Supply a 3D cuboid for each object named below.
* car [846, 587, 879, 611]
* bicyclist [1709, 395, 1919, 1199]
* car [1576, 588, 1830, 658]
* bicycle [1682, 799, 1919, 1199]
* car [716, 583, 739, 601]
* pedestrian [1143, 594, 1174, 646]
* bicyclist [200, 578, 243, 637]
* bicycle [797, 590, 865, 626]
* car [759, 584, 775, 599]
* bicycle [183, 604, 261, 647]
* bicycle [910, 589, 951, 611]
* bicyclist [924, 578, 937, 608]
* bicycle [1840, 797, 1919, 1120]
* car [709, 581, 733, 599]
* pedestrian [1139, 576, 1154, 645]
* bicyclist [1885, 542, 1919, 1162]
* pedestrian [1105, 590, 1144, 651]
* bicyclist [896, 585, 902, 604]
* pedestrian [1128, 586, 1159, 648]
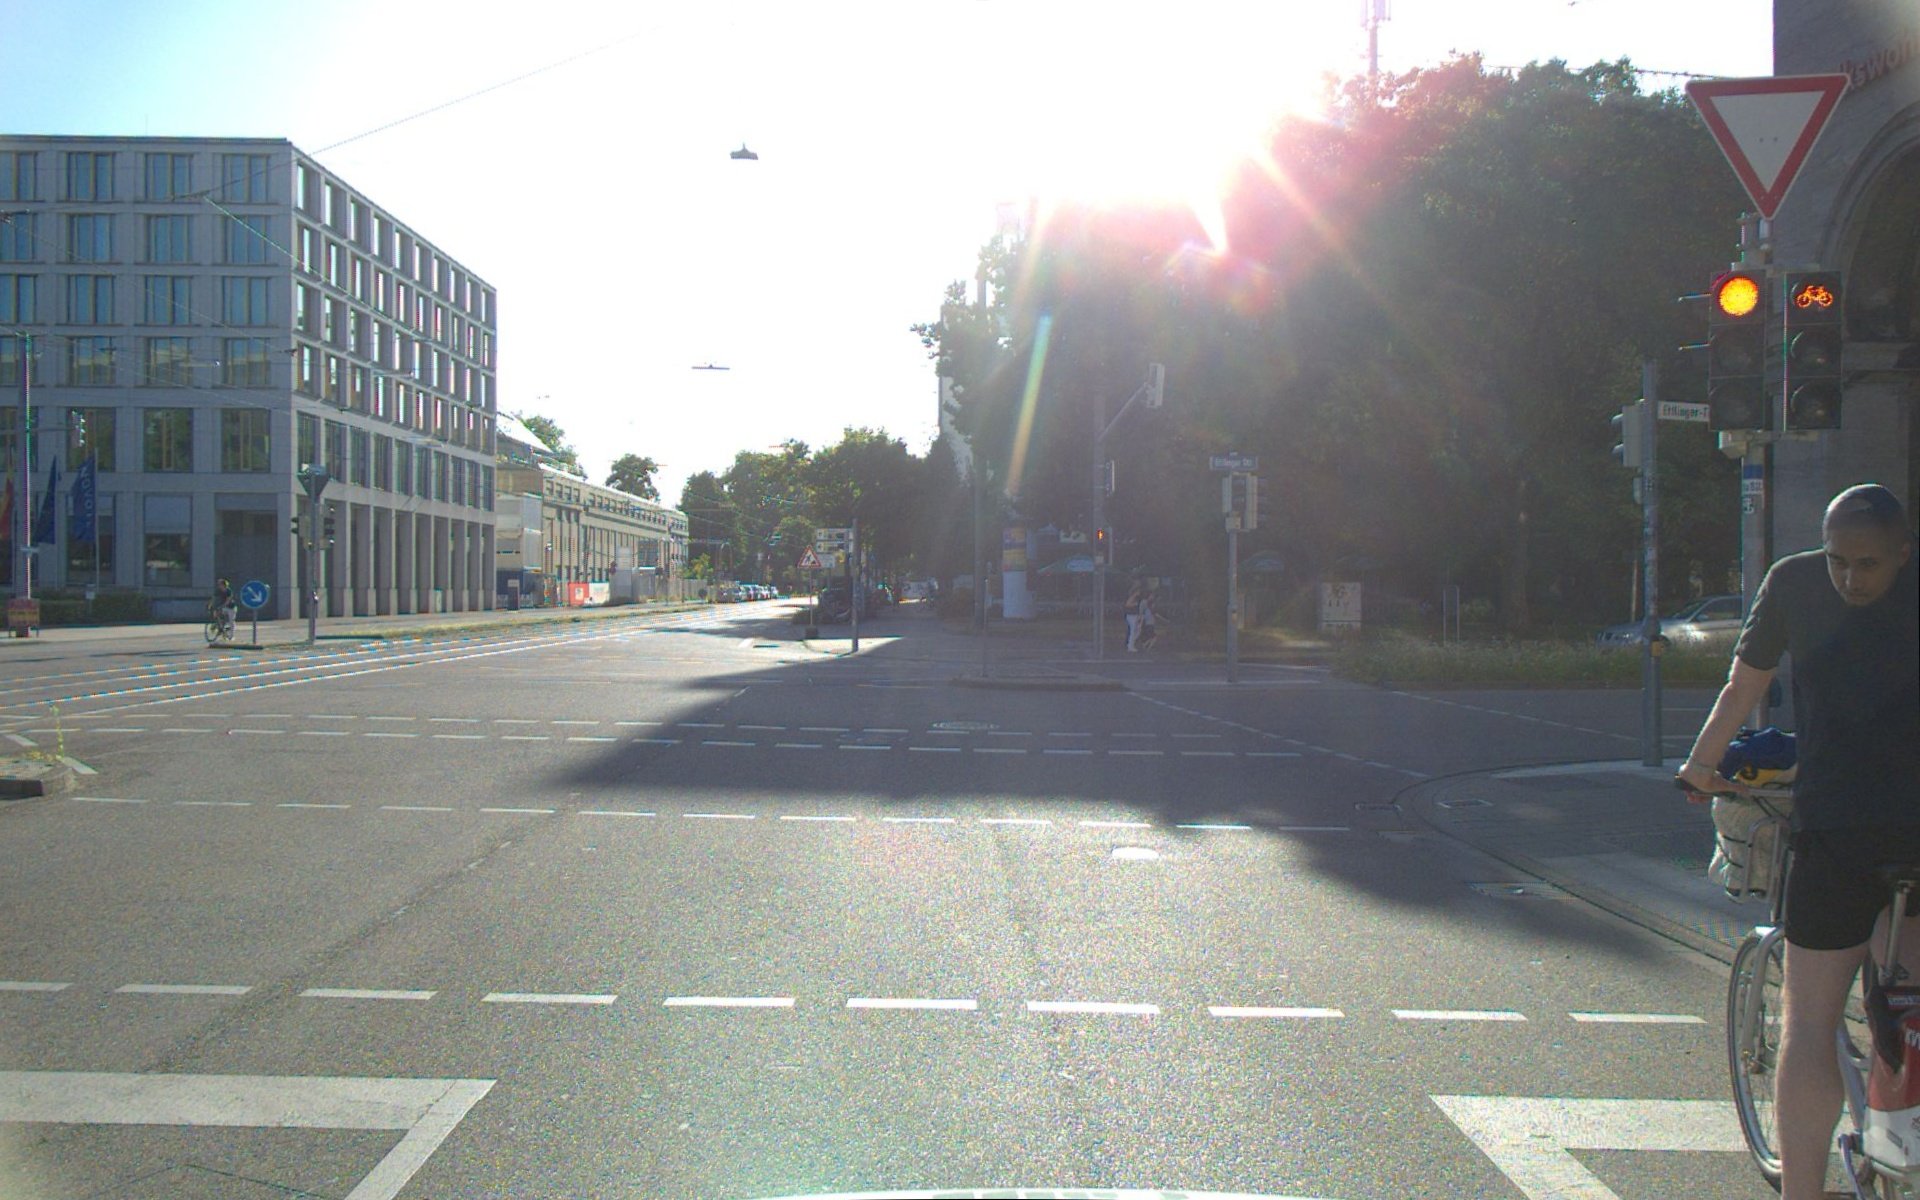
[{"bbox_3d":[-5.425,-0.068,92.083,1.783,1.301,3.998,0,0,-3],"label":"car"},{"bbox_3d":[2.156,0.425,3.746,0.655,1.707,0.657,0,0,6],"label":"bicyclist"},{"bbox_3d":[14.986,0.452,33.530,4.350,1.352,1.777,0,0,2],"label":"car"},{"bbox_3d":[2.230,1.062,3.974,0.381,0.921,1.952,0,0,8],"label":"bicycle"},{"bbox_3d":[-22.424,-0.773,159.812,1.695,1.682,3.999,0,0,-1],"label":"car"},{"bbox_3d":[5.201,0.510,43.321,0.736,1.356,0.743,0,0,2],"label":"pedestrian"},{"bbox_3d":[-21.062,0.214,47.190,0.857,1.670,0.822,0,0,0],"label":"bicyclist"},{"bbox_3d":[-5.231,0.326,67.063,2.688,1.391,0.631,1,-1,10],"label":"bicycle"},{"bbox_3d":[-22.656,-0.993,193.933,1.453,1.780,3.999,0,0,-1],"label":"car"},{"bbox_3d":[-20.990,0.711,47.139,0.857,1.140,3.013,0,0,0],"label":"bicycle"},{"bbox_3d":[-1.847,0.024,102.971,2.518,1.311,0.727,1,0,-4],"label":"bicycle"},{"bbox_3d":[-1.813,-0.437,102.988,0.788,1.876,0.731,0,0,-2],"label":"bicyclist"},{"bbox_3d":[3.006,1.082,4.333,0.418,0.891,1.951,0,0,2],"label":"bicycle"},{"bbox_3d":[-22.468,-0.958,155.690,1.695,1.682,3.999,0,0,-1],"label":"car"},{"bbox_3d":[5.018,0.282,44.493,0.353,1.836,0.507,0,0,11],"label":"pedestrian"},{"bbox_3d":[2.885,0.694,4.284,0.511,1.709,0.859,0,0,2],"label":"bicyclist"},{"bbox_3d":[4.355,0.545,43.922,0.964,1.615,0.660,0,-1,1],"label":"pedestrian"},{"bbox_3d":[-3.600,-0.324,98.352,0.311,1.147,0.291,0,0,8],"label":"bicyclist"},{"bbox_3d":[4.941,0.451,44.565,0.779,1.668,0.533,0,0,2],"label":"pedestrian"}]
